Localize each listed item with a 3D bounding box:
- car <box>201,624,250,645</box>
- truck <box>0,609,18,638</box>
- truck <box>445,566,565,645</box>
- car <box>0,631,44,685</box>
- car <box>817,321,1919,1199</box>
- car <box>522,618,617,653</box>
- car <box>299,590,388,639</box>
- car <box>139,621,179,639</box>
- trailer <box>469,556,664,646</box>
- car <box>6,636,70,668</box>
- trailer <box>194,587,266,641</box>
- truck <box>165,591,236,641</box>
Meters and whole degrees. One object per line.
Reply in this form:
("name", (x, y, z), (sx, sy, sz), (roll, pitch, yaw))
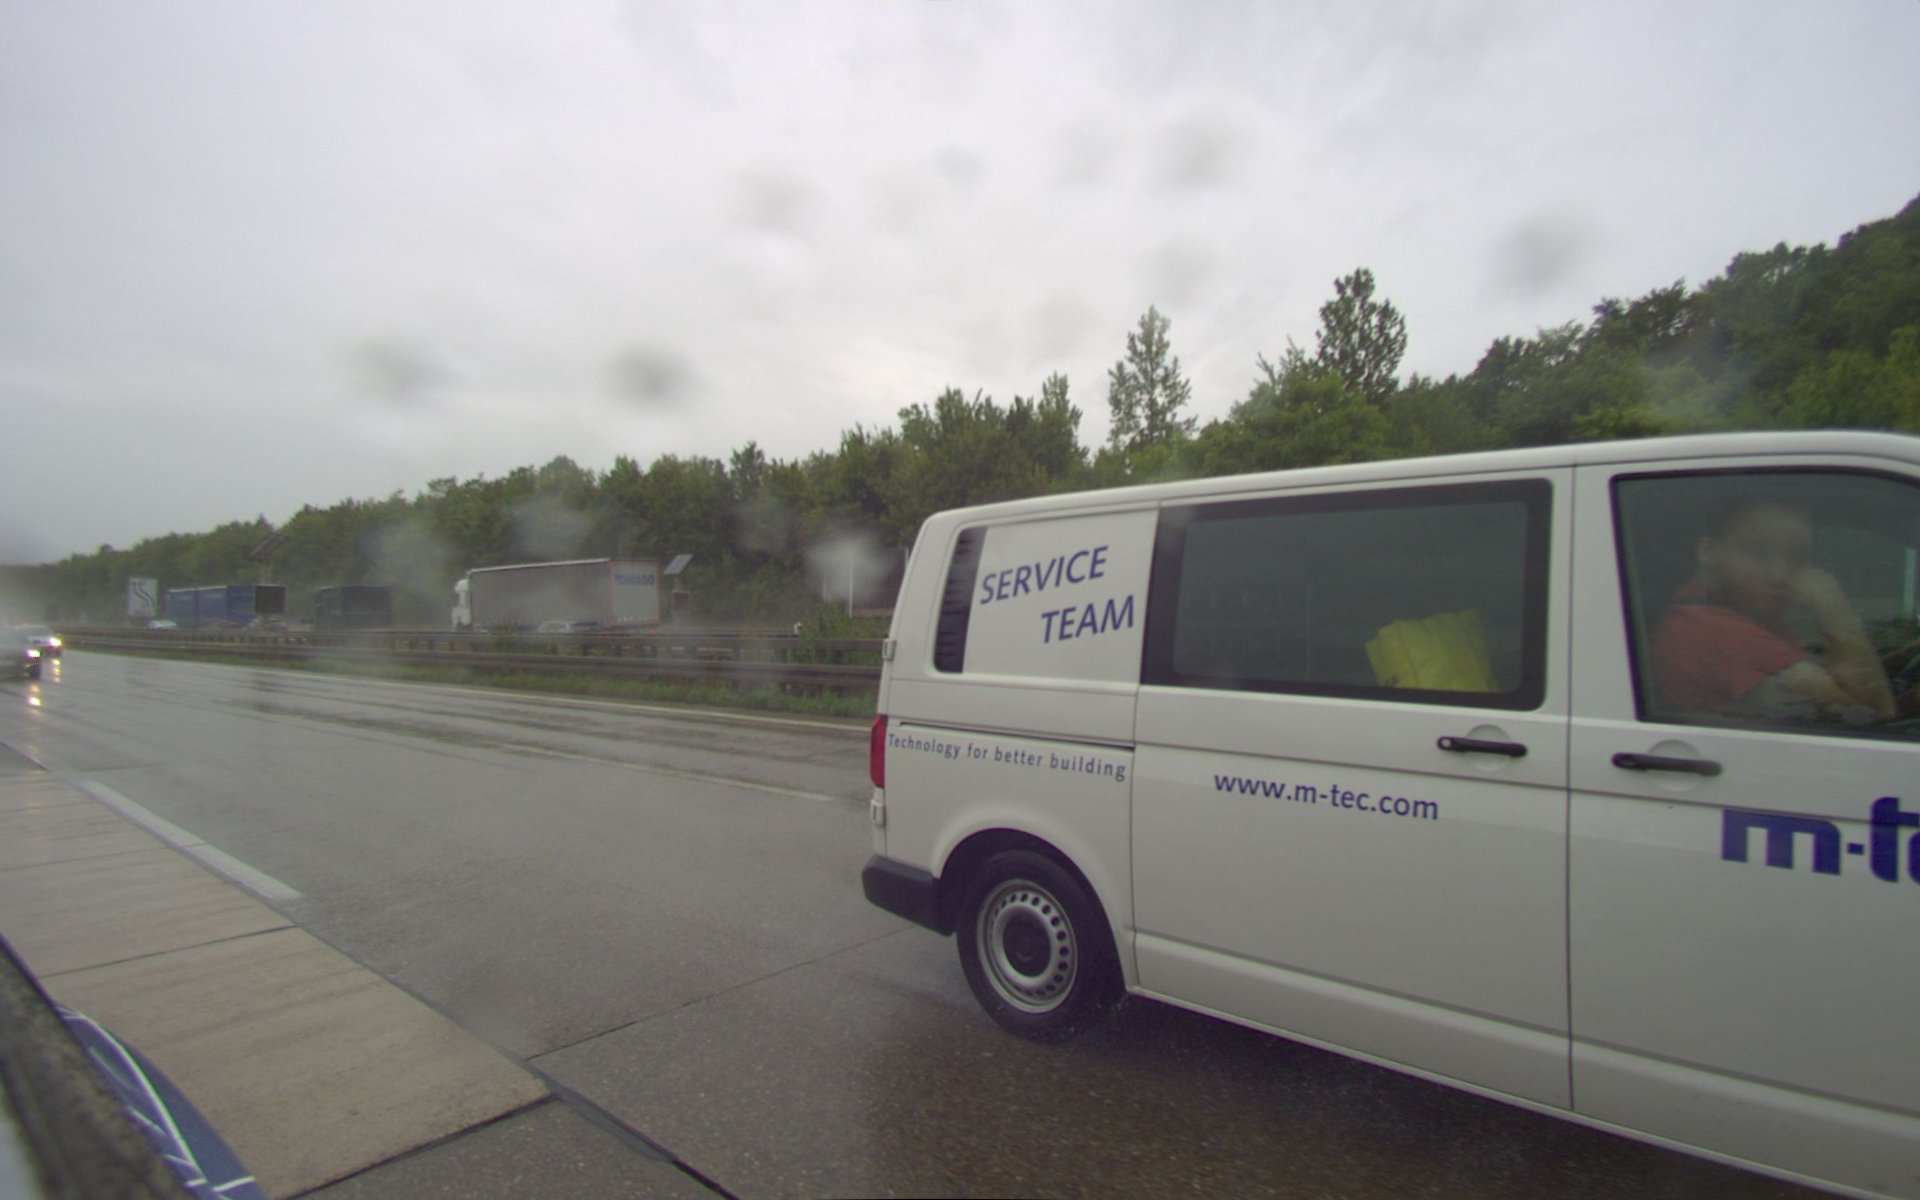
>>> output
("car", (-50.972, 2.391, 70.219), (4.422, 1.349, 1.734), (-2, 0, 41))
("truck", (-131.075, 3.269, 138.045), (9.791, 3.728, 2.559), (-2, 0, 40))
("truck", (-23.867, 0.320, 52.857), (7.678, 3.830, 2.746), (-2, 0, 42))
("car", (-27.659, 1.612, 28.775), (4.516, 1.445, 1.908), (-2, -3, 42))
("car", (1.945, 0.451, 3.028), (5.041, 1.908, 1.879), (-2, -2, 41))
("car", (-15.900, 1.443, 41.147), (4.341, 1.313, 1.734), (-2, 0, 41))
("car", (-35.179, 0.862, 57.628), (7.442, 2.586, 2.160), (-2, 0, 42))
("car", (-65.833, 2.444, 83.183), (4.422, 1.349, 1.734), (-2, 0, 41))
("trailer", (-19.305, 0.189, 48.744), (13.773, 3.830, 2.738), (-2, 0, 42))
("car", (-43.784, 2.453, 48.031), (4.346, 1.445, 1.650), (-2, -2, 40))
("trailer", (-59.892, 1.194, 82.934), (8.520, 4.185, 2.819), (-2, 0, 41))
("truck", (-66.940, 1.464, 89.061), (10.172, 4.185, 2.819), (-2, 0, 41))
